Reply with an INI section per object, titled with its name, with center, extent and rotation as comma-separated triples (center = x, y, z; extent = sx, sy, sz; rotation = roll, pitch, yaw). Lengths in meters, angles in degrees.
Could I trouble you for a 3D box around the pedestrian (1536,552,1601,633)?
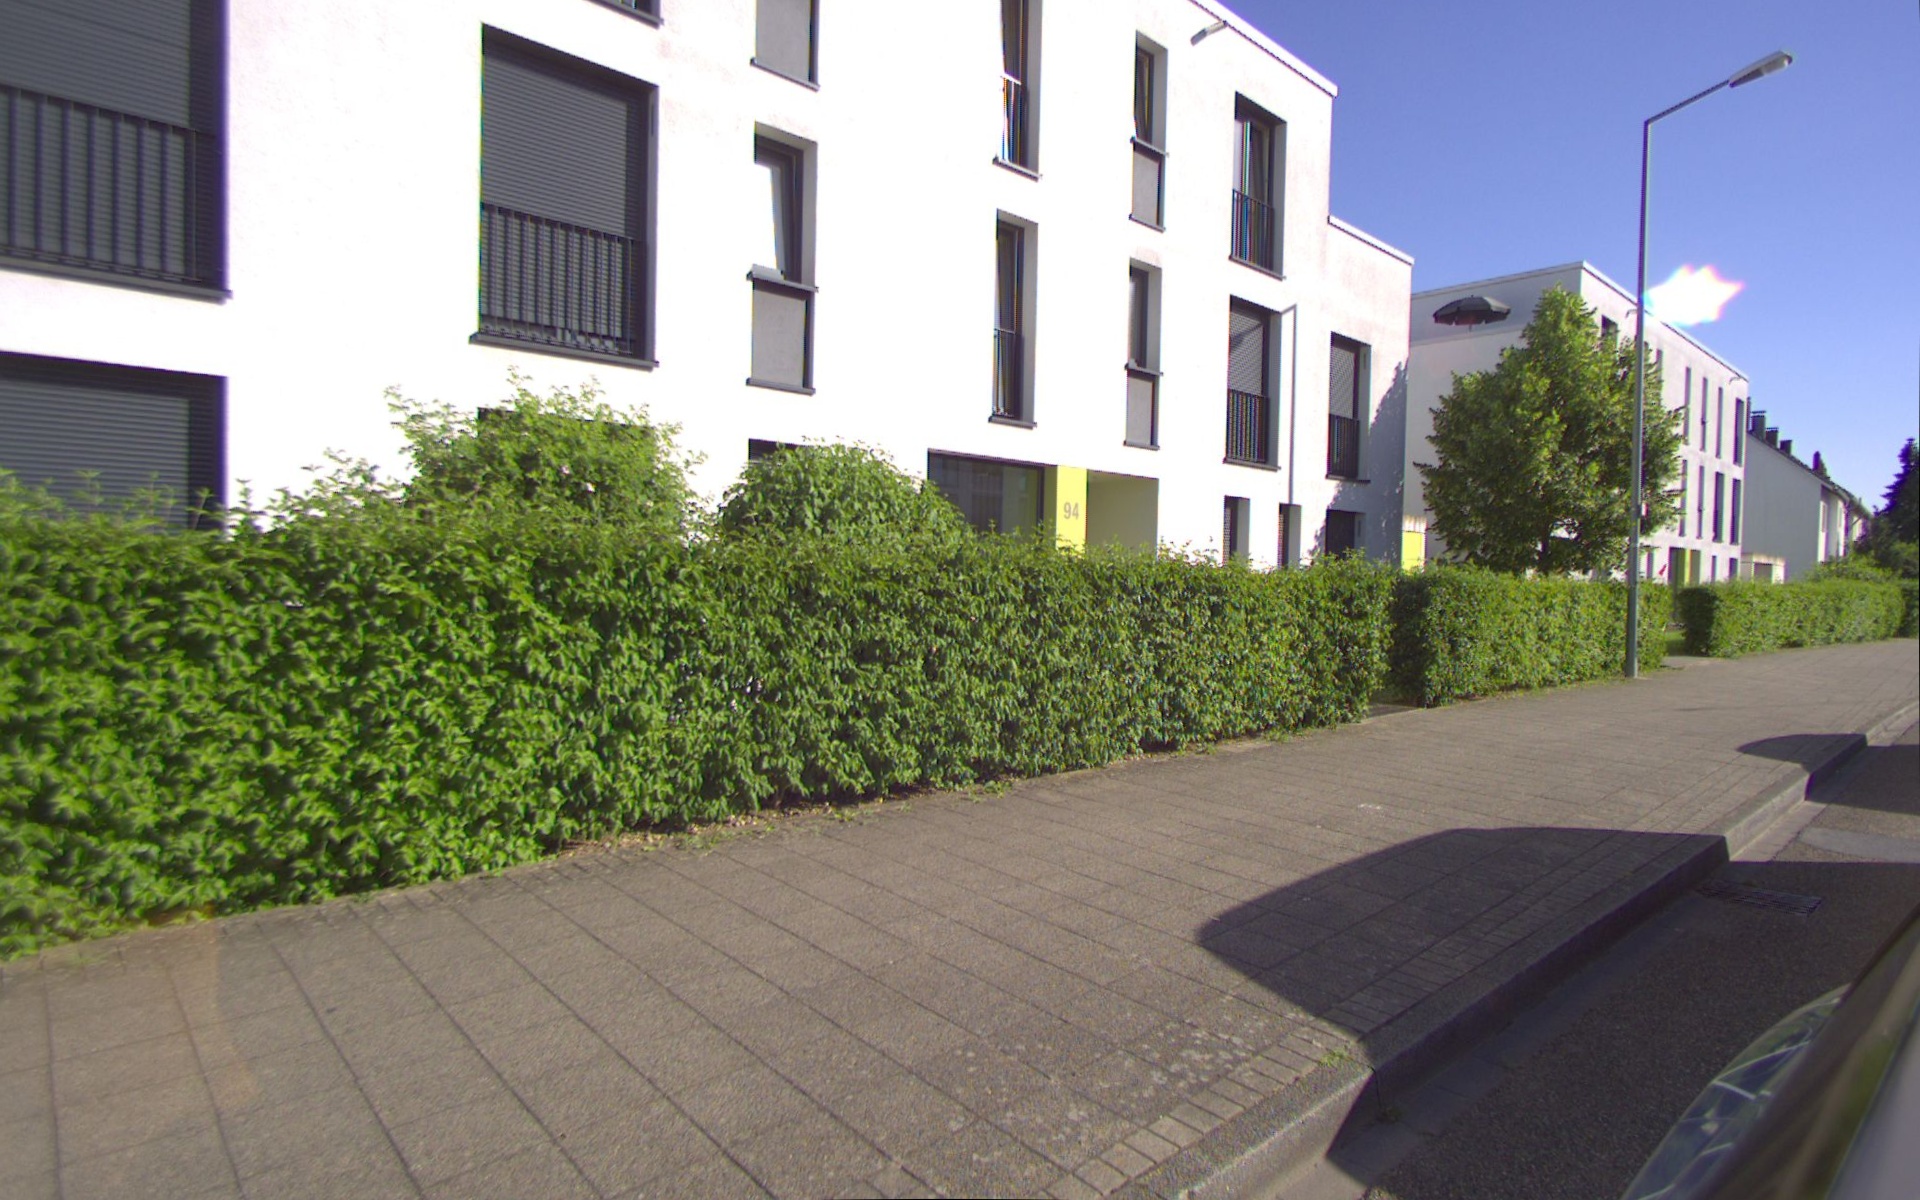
[pedestrian]
center = 12.546, -0.172, 20.881
extent = 0.897, 1.613, 0.854
rotation = 0, 2, -39
